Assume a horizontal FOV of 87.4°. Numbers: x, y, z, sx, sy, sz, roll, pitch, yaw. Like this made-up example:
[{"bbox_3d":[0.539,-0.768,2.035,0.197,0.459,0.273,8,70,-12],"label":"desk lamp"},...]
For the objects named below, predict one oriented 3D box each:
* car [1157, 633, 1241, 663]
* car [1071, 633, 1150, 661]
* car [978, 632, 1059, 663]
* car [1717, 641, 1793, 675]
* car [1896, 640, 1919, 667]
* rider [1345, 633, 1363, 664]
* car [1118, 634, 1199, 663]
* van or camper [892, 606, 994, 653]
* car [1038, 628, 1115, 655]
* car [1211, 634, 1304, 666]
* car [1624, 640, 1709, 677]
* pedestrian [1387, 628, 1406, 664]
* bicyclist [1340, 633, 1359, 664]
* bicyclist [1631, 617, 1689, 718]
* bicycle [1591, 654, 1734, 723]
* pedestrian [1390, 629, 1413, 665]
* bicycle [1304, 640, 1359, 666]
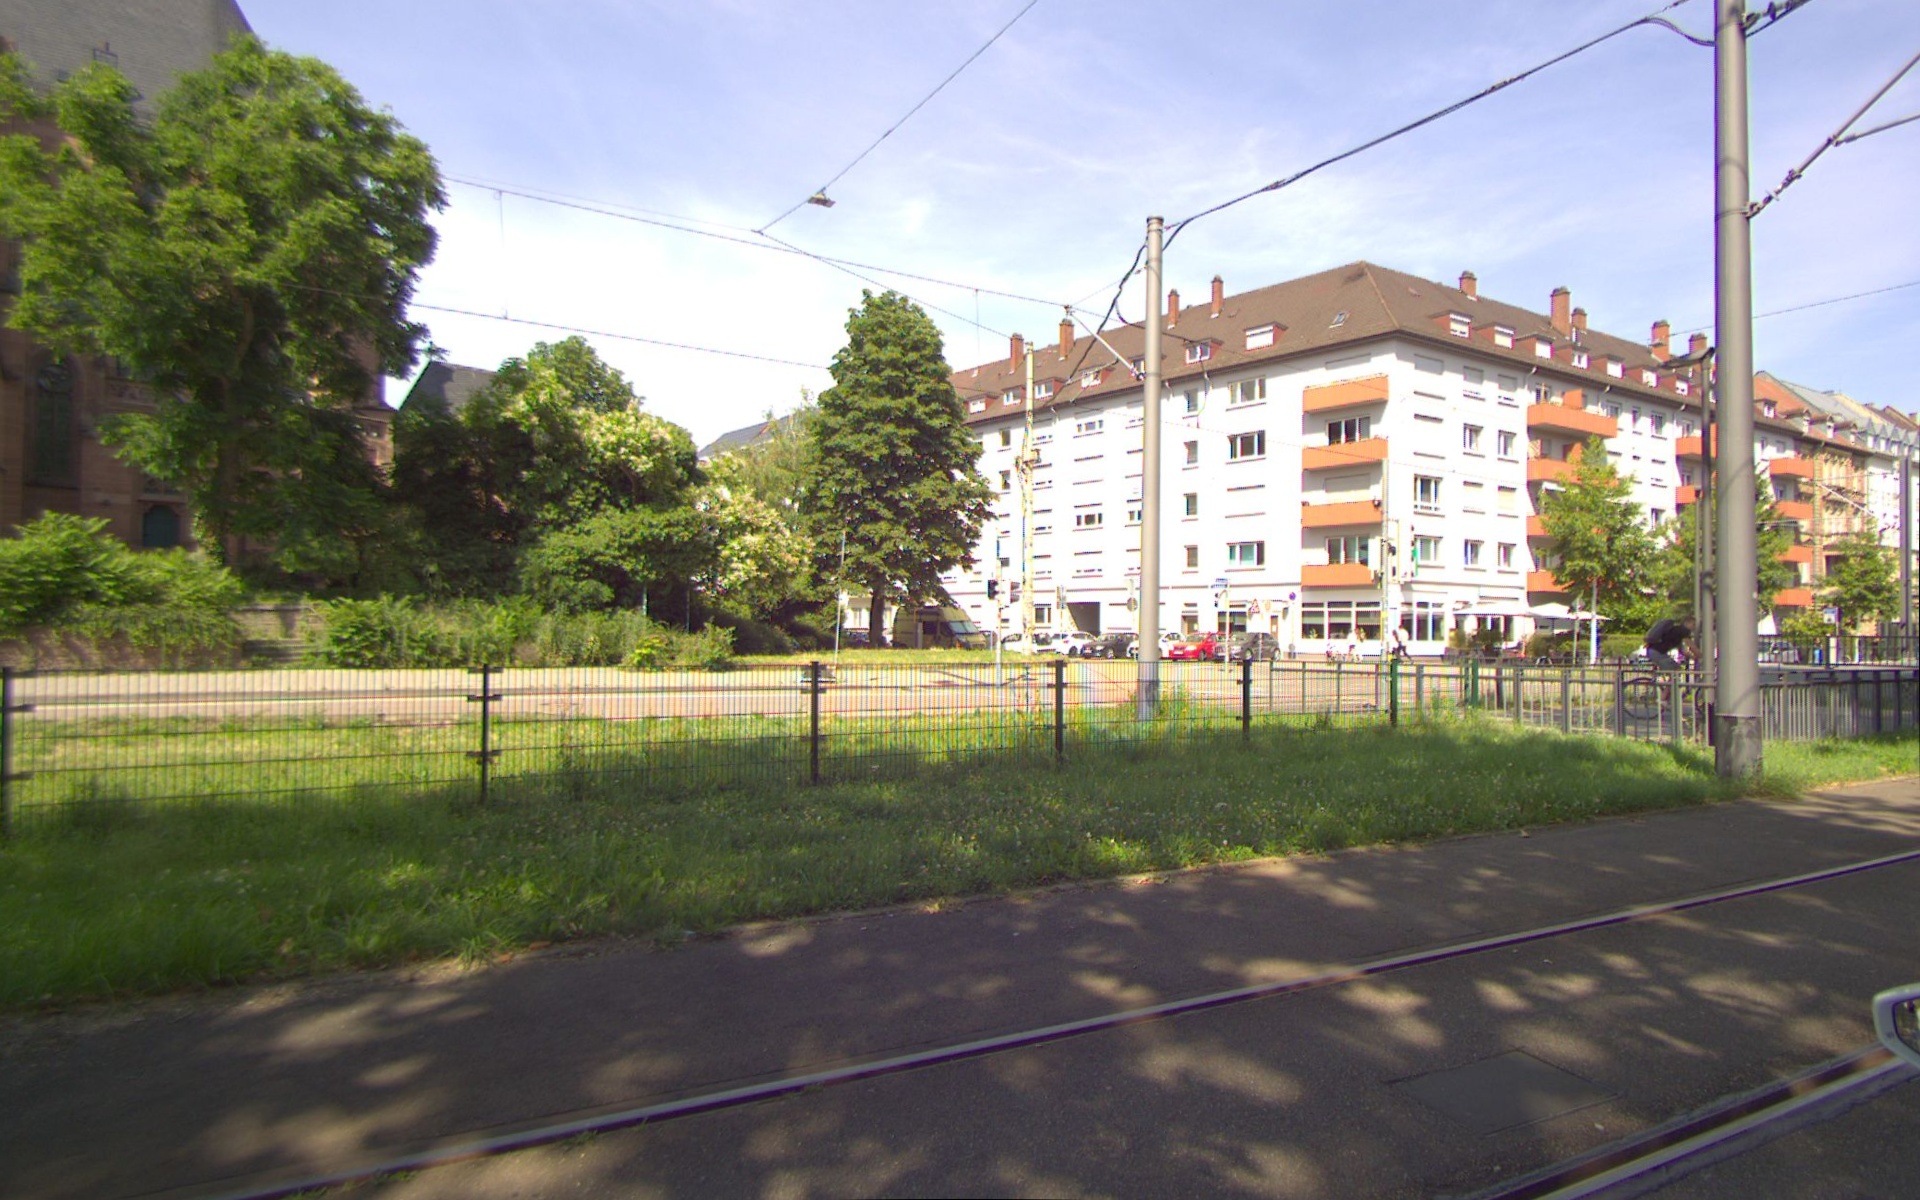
[{"bbox_3d":[11.913,2.384,49.979,4.129,1.425,1.917,2,-2,-38],"label":"car"},{"bbox_3d":[8.076,2.501,53.855,4.129,1.425,1.917,2,-2,-38],"label":"car"},{"bbox_3d":[2.852,2.321,49.216,3.702,1.425,1.823,-1,-2,44],"label":"car"},{"bbox_3d":[37.126,2.689,46.871,3.962,1.517,1.759,2,-3,-36],"label":"car"},{"bbox_3d":[55.477,3.076,57.730,3.962,1.518,1.758,2,-2,-36],"label":"car"},{"bbox_3d":[18.574,2.282,47.408,0.616,1.442,0.587,0,-2,43],"label":"rider"},{"bbox_3d":[10.367,2.511,52.292,4.129,1.425,1.917,2,-2,-38],"label":"car"},{"bbox_3d":[-0.974,1.557,53.610,2.229,2.360,5.704,2,-2,-42],"label":"van or camper"},{"bbox_3d":[6.555,2.324,56.169,4.129,1.425,1.917,2,-2,-38],"label":"car"},{"bbox_3d":[14.083,2.340,47.388,4.599,1.394,1.821,2,-2,-36],"label":"car"},{"bbox_3d":[29.982,2.463,42.580,3.962,1.517,1.759,2,-3,-36],"label":"car"},{"bbox_3d":[19.607,2.079,45.092,0.679,1.593,0.544,0,-1,36],"label":"pedestrian"},{"bbox_3d":[18.198,2.273,46.930,0.616,1.442,0.587,0,-2,43],"label":"bicyclist"},{"bbox_3d":[11.747,1.124,16.869,0.681,1.644,0.624,0,-1,23],"label":"bicyclist"},{"bbox_3d":[11.740,1.457,16.850,1.889,1.063,0.532,0,-1,23],"label":"bicycle"},{"bbox_3d":[20.032,2.111,45.567,0.846,1.593,0.688,0,-2,36],"label":"pedestrian"},{"bbox_3d":[16.846,2.398,45.525,2.779,1.152,0.905,2,-2,-34],"label":"bicycle"}]
